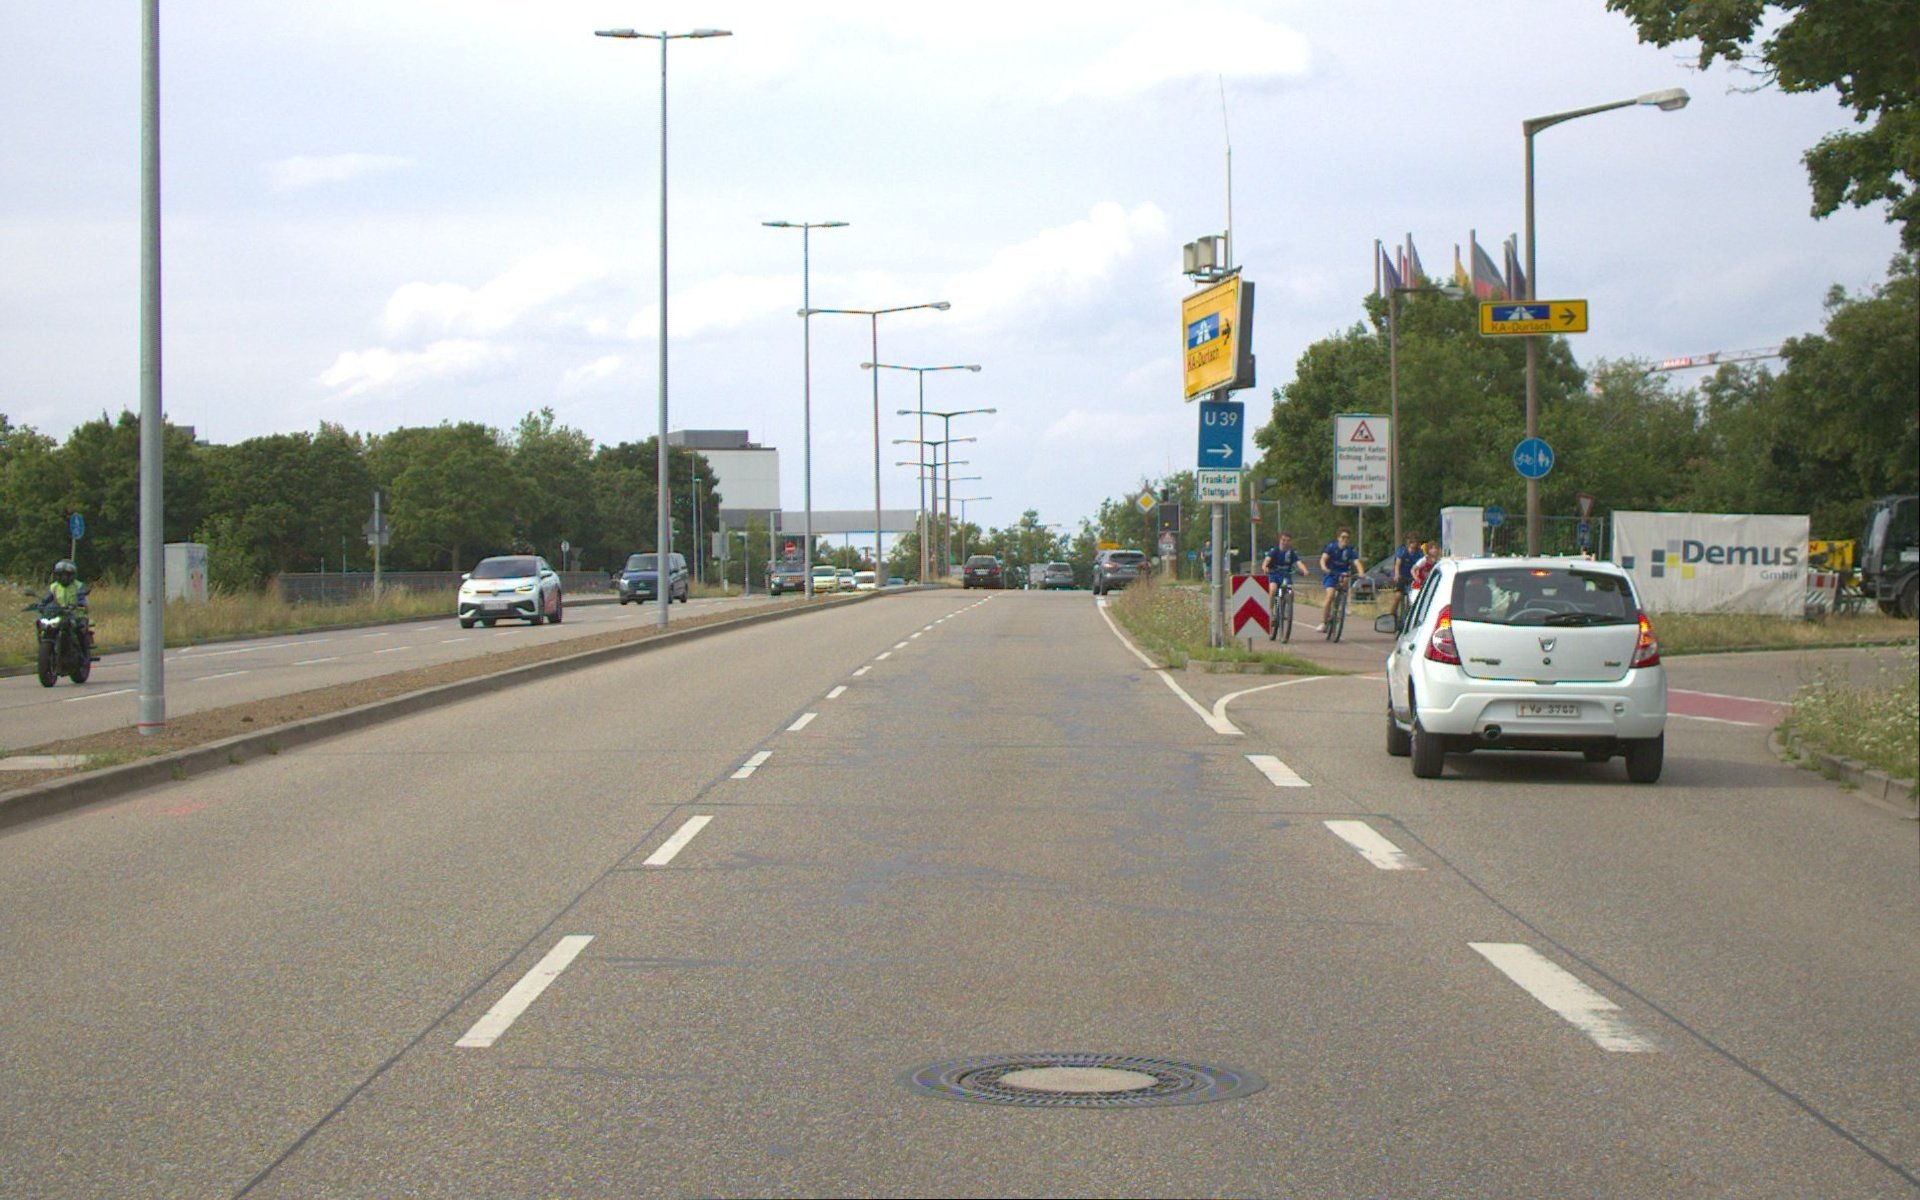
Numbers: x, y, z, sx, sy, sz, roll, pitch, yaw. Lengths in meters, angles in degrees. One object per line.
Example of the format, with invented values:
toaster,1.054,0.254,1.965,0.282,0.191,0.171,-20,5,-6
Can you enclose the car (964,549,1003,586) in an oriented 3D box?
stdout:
car,1.123,-1.510,162.219,1.731,1.647,4.114,0,-1,2

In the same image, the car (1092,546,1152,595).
car,5.682,-1.033,121.051,1.730,1.647,4.115,0,-1,-3

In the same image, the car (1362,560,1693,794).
car,3.985,0.486,24.730,1.847,1.497,4.000,1,1,2

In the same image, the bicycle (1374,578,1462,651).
bicycle,6.571,0.205,49.408,0.620,1.002,1.788,-3,0,-13

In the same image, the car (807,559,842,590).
car,-7.263,-1.388,184.434,1.549,1.572,3.690,-2,1,2

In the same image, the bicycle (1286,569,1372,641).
bicycle,5.621,0.064,52.469,0.595,1.033,2.196,2,0,-13

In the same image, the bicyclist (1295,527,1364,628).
bicyclist,5.626,-0.341,52.383,0.741,1.513,0.958,1,0,-14

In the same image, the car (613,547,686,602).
car,-11.453,-0.964,126.992,1.847,1.887,5.504,-3,0,3

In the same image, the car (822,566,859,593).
car,-6.934,-1.196,199.886,1.650,1.510,4.015,-2,1,5

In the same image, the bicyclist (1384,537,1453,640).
bicyclist,6.574,-0.164,49.343,0.740,1.469,0.806,1,0,-12

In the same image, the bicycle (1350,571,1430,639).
bicycle,6.596,0.082,52.830,0.620,1.002,1.788,-3,0,-13

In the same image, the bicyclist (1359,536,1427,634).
bicyclist,6.643,-0.234,52.773,0.741,1.482,0.958,1,0,-13

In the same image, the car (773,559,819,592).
car,-7.605,-1.168,159.525,1.763,1.436,4.177,-2,1,2

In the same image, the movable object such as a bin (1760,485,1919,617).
movable object such as a bin,19.153,-1.004,71.845,4.502,2.680,2.101,1,0,6

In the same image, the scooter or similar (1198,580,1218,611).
scooter or similar,9.821,-0.193,136.152,0.588,1.220,1.203,1,0,-6

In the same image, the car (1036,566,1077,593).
car,5.513,-1.188,197.171,1.730,1.521,4.116,1,0,-7

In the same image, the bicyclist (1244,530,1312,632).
bicyclist,4.786,-0.276,51.733,0.741,1.513,0.958,1,0,-13

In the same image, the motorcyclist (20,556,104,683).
motorcyclist,-11.427,0.240,43.762,0.770,1.583,0.896,-2,1,0

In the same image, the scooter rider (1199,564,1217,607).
scooter rider,9.823,-0.584,136.161,0.587,1.685,0.744,1,0,-7

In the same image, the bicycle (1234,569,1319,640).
bicycle,4.761,0.061,51.768,0.620,1.002,2.103,2,1,-13

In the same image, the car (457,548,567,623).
car,-10.314,-0.357,79.423,1.847,1.595,4.561,-1,2,1

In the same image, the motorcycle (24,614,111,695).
motorcycle,-11.383,0.683,43.910,0.522,0.963,2.220,-1,1,0
